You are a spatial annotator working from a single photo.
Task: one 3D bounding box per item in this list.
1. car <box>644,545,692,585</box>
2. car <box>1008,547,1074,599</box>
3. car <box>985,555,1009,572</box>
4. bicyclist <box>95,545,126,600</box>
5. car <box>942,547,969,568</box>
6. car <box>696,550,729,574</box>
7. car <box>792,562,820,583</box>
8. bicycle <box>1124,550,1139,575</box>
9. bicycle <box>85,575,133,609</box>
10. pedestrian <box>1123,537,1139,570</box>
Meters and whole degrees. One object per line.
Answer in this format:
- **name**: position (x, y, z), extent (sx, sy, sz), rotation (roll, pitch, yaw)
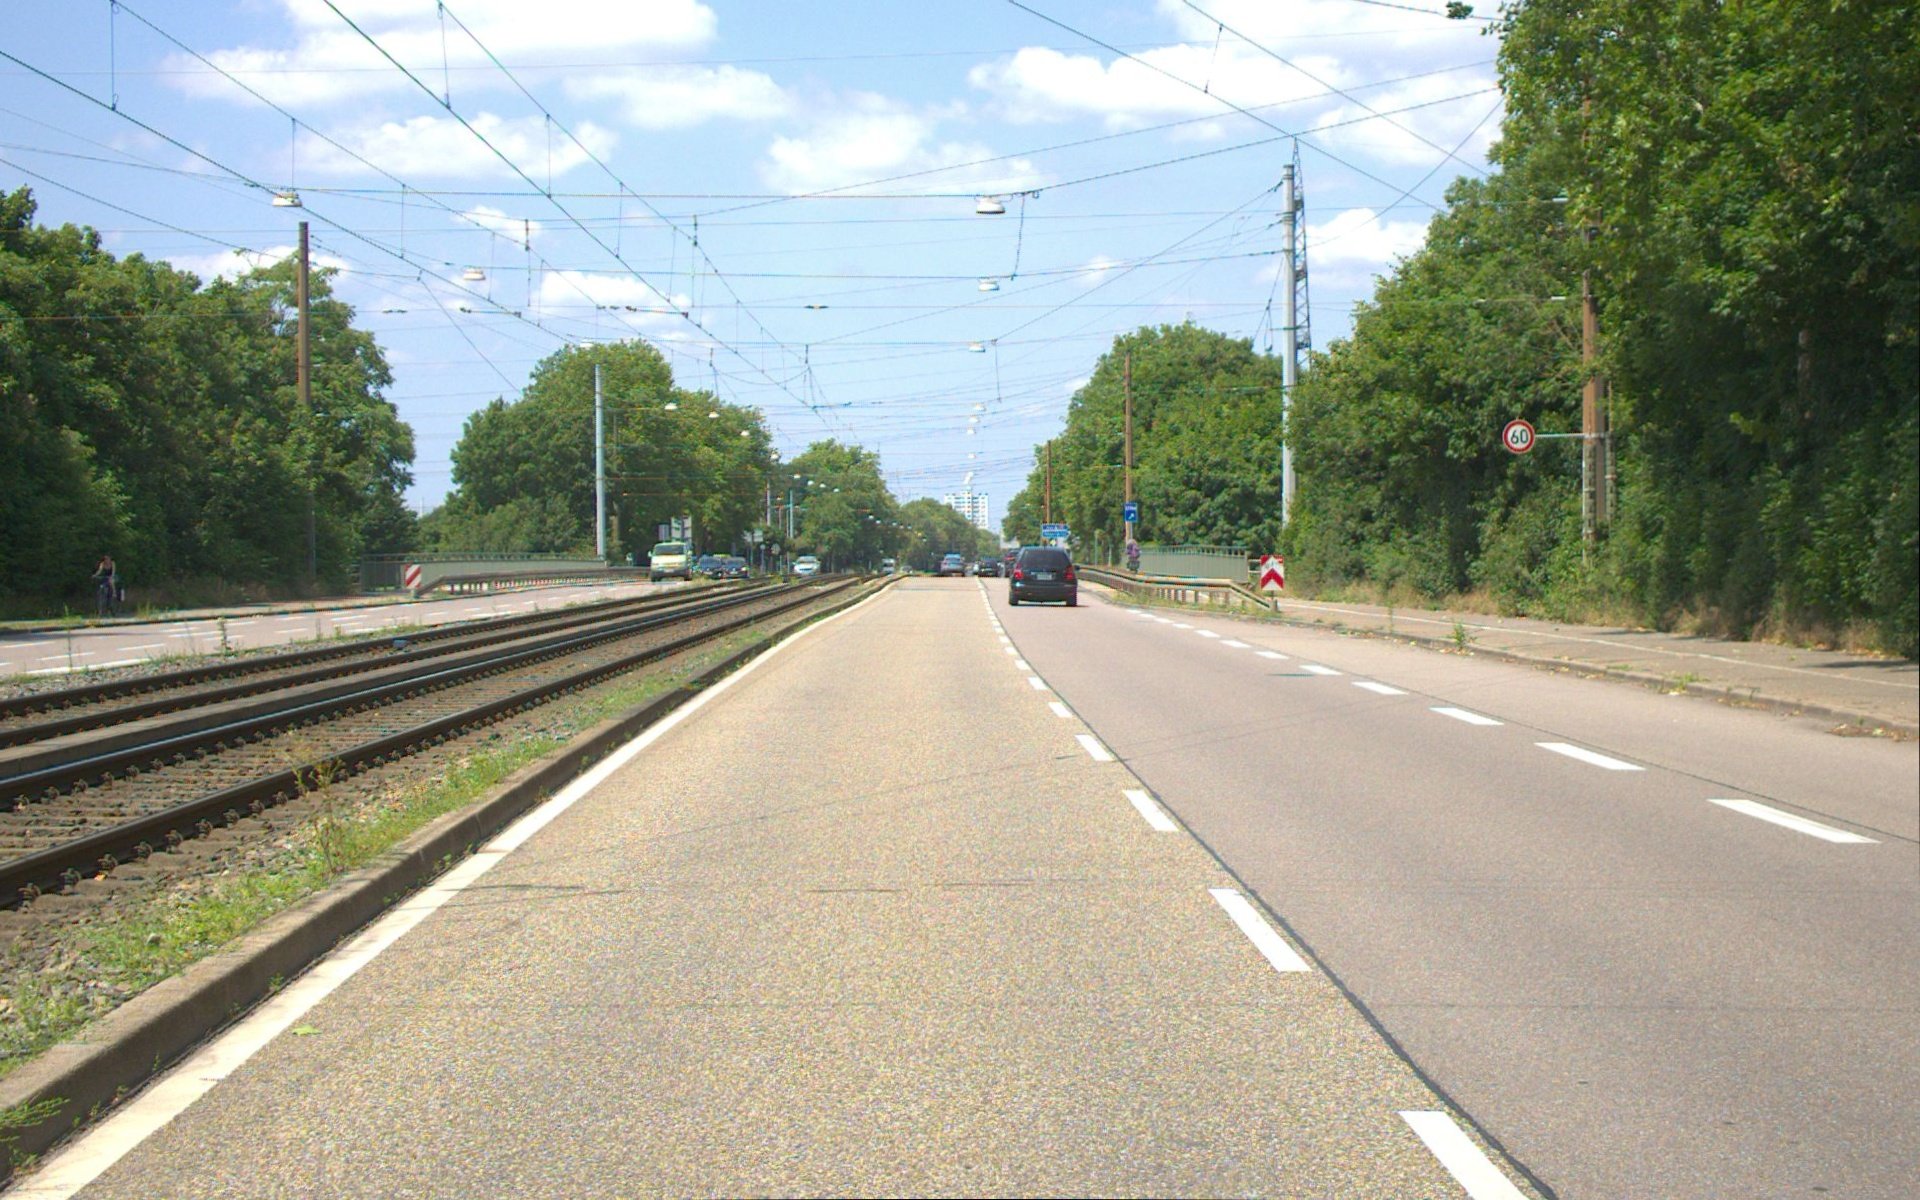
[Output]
- **car**: position (-14.338, -1.730, 169.041), extent (1.811, 1.919, 5.179), rotation (-1, 0, 0)
- **car**: position (2.139, -0.727, 91.139), extent (1.586, 1.338, 3.272), rotation (-1, 1, -1)
- **car**: position (2.313, -2.258, 214.304), extent (1.431, 1.026, 3.371), rotation (1, 0, -1)
- **bicyclist**: position (-21.343, -0.696, 86.354), extent (0.569, 1.363, 0.631), rotation (1, 0, 2)
- **car**: position (-0.359, -3.171, 258.715), extent (1.993, 1.525, 4.000), rotation (1, 0, -1)
- **car**: position (-14.312, -2.214, 198.755), extent (1.563, 1.343, 3.929), rotation (-1, 0, 0)
- **car**: position (-10.966, -1.966, 244.371), extent (1.711, 1.415, 4.624), rotation (-1, 0, 0)
- **bicycle**: position (7.186, -1.576, 144.259), extent (0.559, 1.021, 1.848), rotation (0, 0, 0)
- **bicycle**: position (-21.367, -0.210, 86.334), extent (0.586, 0.816, 2.068), rotation (-1, 1, 2)
- **pedestrian**: position (7.181, -1.950, 144.219), extent (0.628, 1.369, 1.050), rotation (0, 0, 0)
